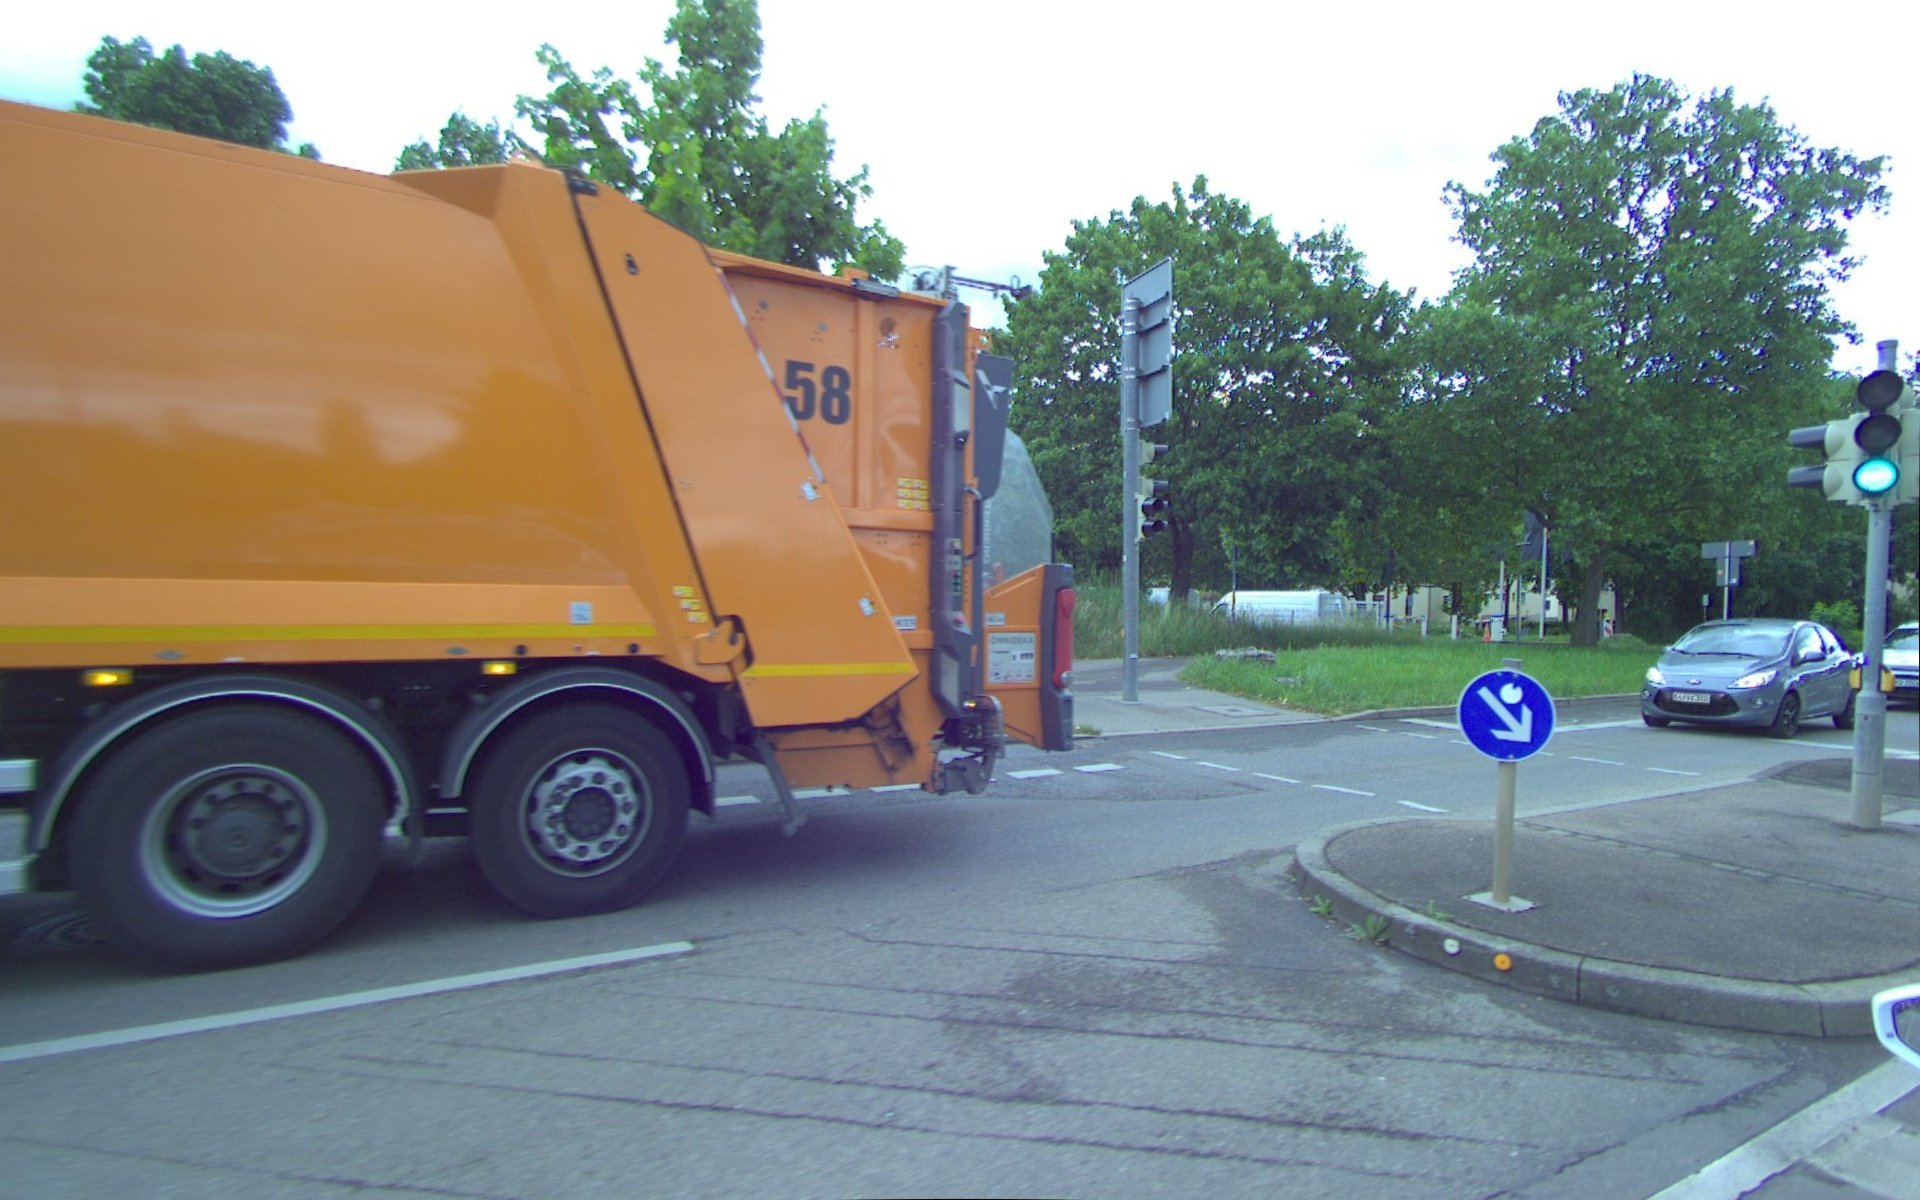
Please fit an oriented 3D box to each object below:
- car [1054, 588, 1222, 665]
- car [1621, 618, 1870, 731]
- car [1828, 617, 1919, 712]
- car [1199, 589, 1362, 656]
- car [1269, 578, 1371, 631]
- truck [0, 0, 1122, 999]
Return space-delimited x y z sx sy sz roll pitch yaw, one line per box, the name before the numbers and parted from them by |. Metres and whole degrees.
car | 6.339 0.868 36.607 2.629 2.508 6.007 1 0 -33
car | 10.738 0.935 13.686 3.613 1.348 1.539 1 -1 -32
car | 17.523 1.093 17.898 4.762 1.541 1.836 1 -1 -32
car | 12.953 0.843 40.995 2.629 2.508 6.007 1 0 -33
car | 19.353 0.218 54.247 1.980 2.698 4.934 1 0 -34
truck | -3.948 -0.377 4.759 9.879 3.534 2.692 1 1 -31
